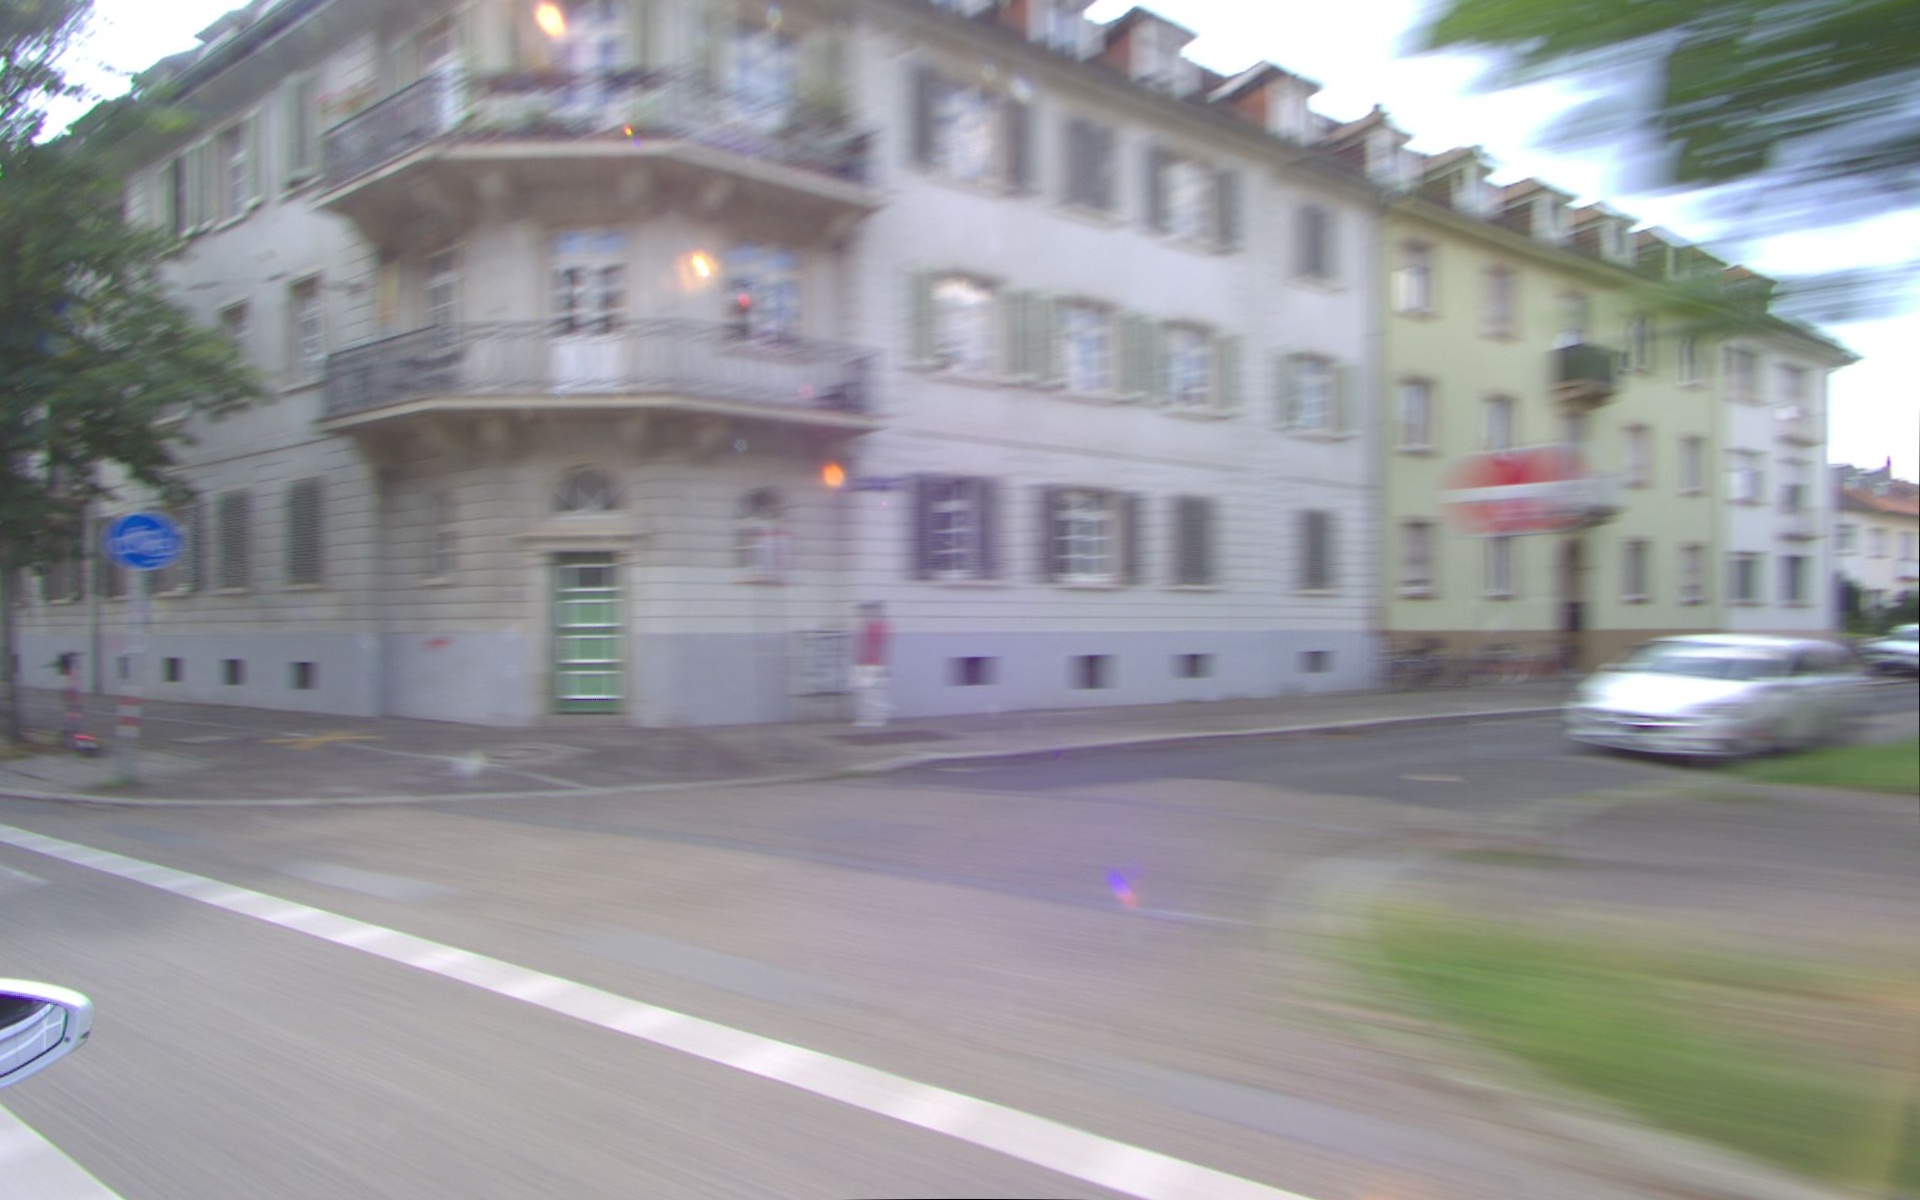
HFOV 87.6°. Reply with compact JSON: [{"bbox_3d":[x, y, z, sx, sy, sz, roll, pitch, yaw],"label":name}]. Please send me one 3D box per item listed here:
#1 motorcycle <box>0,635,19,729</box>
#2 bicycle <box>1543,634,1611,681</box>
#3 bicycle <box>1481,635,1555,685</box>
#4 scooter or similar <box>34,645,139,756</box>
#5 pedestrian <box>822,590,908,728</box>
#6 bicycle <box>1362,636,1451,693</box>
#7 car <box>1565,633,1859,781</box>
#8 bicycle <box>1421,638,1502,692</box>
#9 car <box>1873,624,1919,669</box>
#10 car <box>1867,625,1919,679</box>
[{"bbox_3d":[-14.876,1.195,14.809,2.411,1.338,0.855,-1,-2,33],"label":"motorcycle"},{"bbox_3d":[16.467,1.513,26.692,2.486,1.163,0.677,1,2,-38],"label":"bicycle"},{"bbox_3d":[14.102,1.479,25.284,2.486,1.163,0.677,1,2,-38],"label":"bicycle"},{"bbox_3d":[-10.780,1.199,12.340,1.696,1.267,0.531,-1,0,33],"label":"scooter or similar"},{"bbox_3d":[-1.415,0.854,14.854,0.964,1.962,0.896,1,-1,-32],"label":"pedestrian"},{"bbox_3d":[9.944,1.407,22.245,2.486,1.163,0.677,1,2,-38],"label":"bicycle"},{"bbox_3d":[9.390,1.209,12.469,3.570,1.518,1.720,1,1,-32],"label":"car"},{"bbox_3d":[11.949,1.520,23.823,2.486,1.163,0.677,1,2,-38],"label":"bicycle"},{"bbox_3d":[35.117,1.693,35.435,1.875,1.518,3.887,1,1,-37],"label":"car"},{"bbox_3d":[30.632,1.614,31.610,4.011,1.599,1.886,1,1,-32],"label":"car"}]
